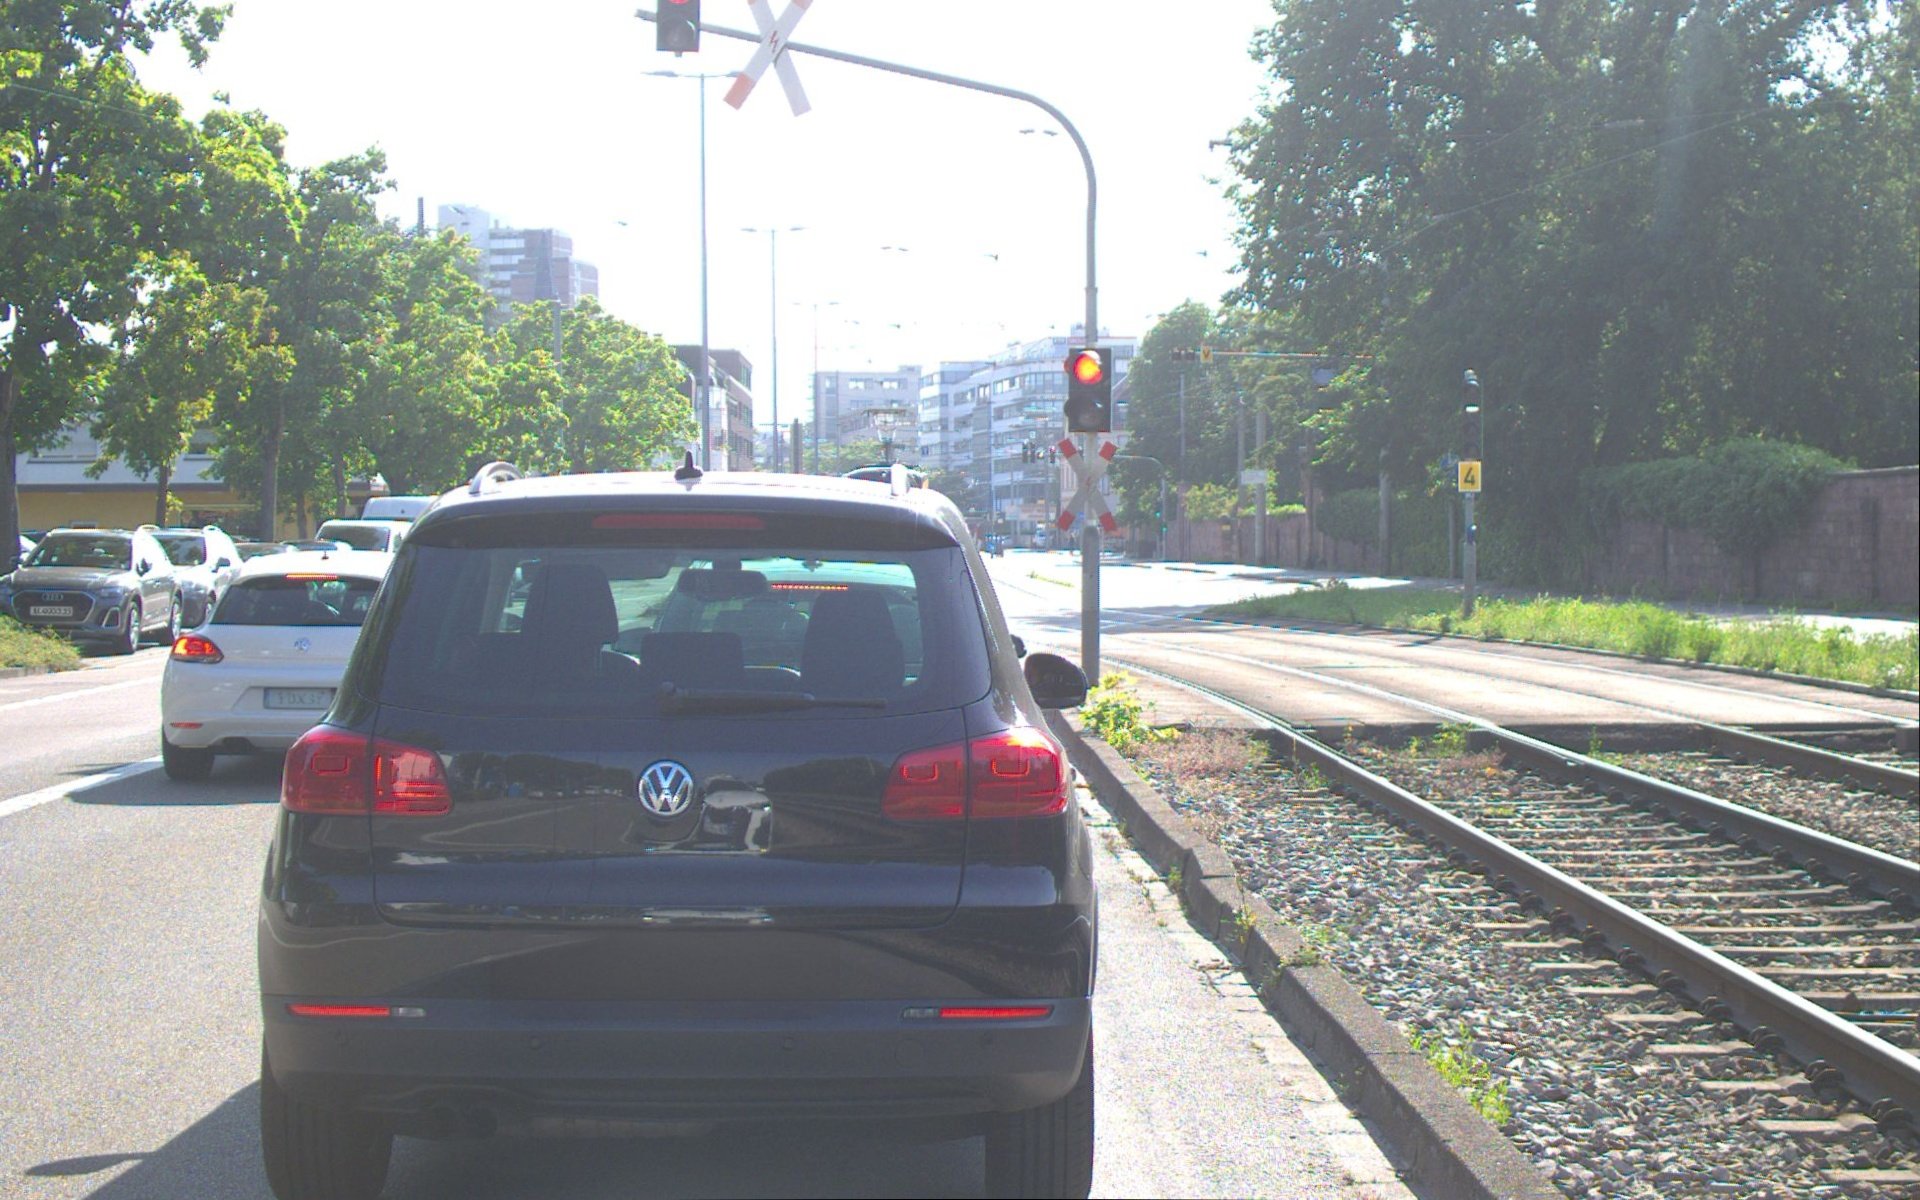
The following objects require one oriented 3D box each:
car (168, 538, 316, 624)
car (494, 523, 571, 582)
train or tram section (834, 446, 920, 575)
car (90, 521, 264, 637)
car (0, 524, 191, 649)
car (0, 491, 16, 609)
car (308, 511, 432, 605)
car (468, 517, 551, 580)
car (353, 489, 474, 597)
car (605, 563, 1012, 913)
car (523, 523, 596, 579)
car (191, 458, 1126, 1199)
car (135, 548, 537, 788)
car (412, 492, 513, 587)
[{"bbox_3d":[-12.413,-0.355,59.629,1.732,1.384,3.735,-1,2,1],"label":"car"},{"bbox_3d":[-12.681,-1.435,102.248,1.732,1.689,4.000,-1,2,1],"label":"car"},{"bbox_3d":[-2.335,-2.575,99.360,2.326,3.558,8.901,-1,1,-1],"label":"train or tram section"},{"bbox_3d":[-12.144,-0.365,53.528,1.732,1.689,4.000,-1,2,1],"label":"car"},{"bbox_3d":[-12.098,-0.229,48.041,1.732,1.652,4.000,-1,1,1],"label":"car"},{"bbox_3d":[-22.428,-0.999,70.784,5.375,2.415,2.088,-1,1,0],"label":"car"},{"bbox_3d":[-12.148,-0.897,71.038,1.732,1.853,4.489,-1,1,1],"label":"car"},{"bbox_3d":[-12.585,-1.468,96.182,1.732,1.689,4.000,-1,2,1],"label":"car"},{"bbox_3d":[-12.311,-1.310,77.706,1.863,2.339,4.985,-1,1,1],"label":"car"},{"bbox_3d":[-0.650,0.550,16.249,1.669,1.382,4.000,-1,1,-1],"label":"car"},{"bbox_3d":[-12.513,-1.544,107.569,1.732,1.689,4.000,-1,2,1],"label":"car"},{"bbox_3d":[-0.611,0.519,8.703,1.811,1.639,4.000,1,1,-1],"label":"car"},{"bbox_3d":[-3.844,0.364,21.818,1.864,1.343,4.000,0,1,-1],"label":"car"},{"bbox_3d":[-12.199,-1.498,84.533,1.732,2.261,4.645,-1,1,1],"label":"car"}]
